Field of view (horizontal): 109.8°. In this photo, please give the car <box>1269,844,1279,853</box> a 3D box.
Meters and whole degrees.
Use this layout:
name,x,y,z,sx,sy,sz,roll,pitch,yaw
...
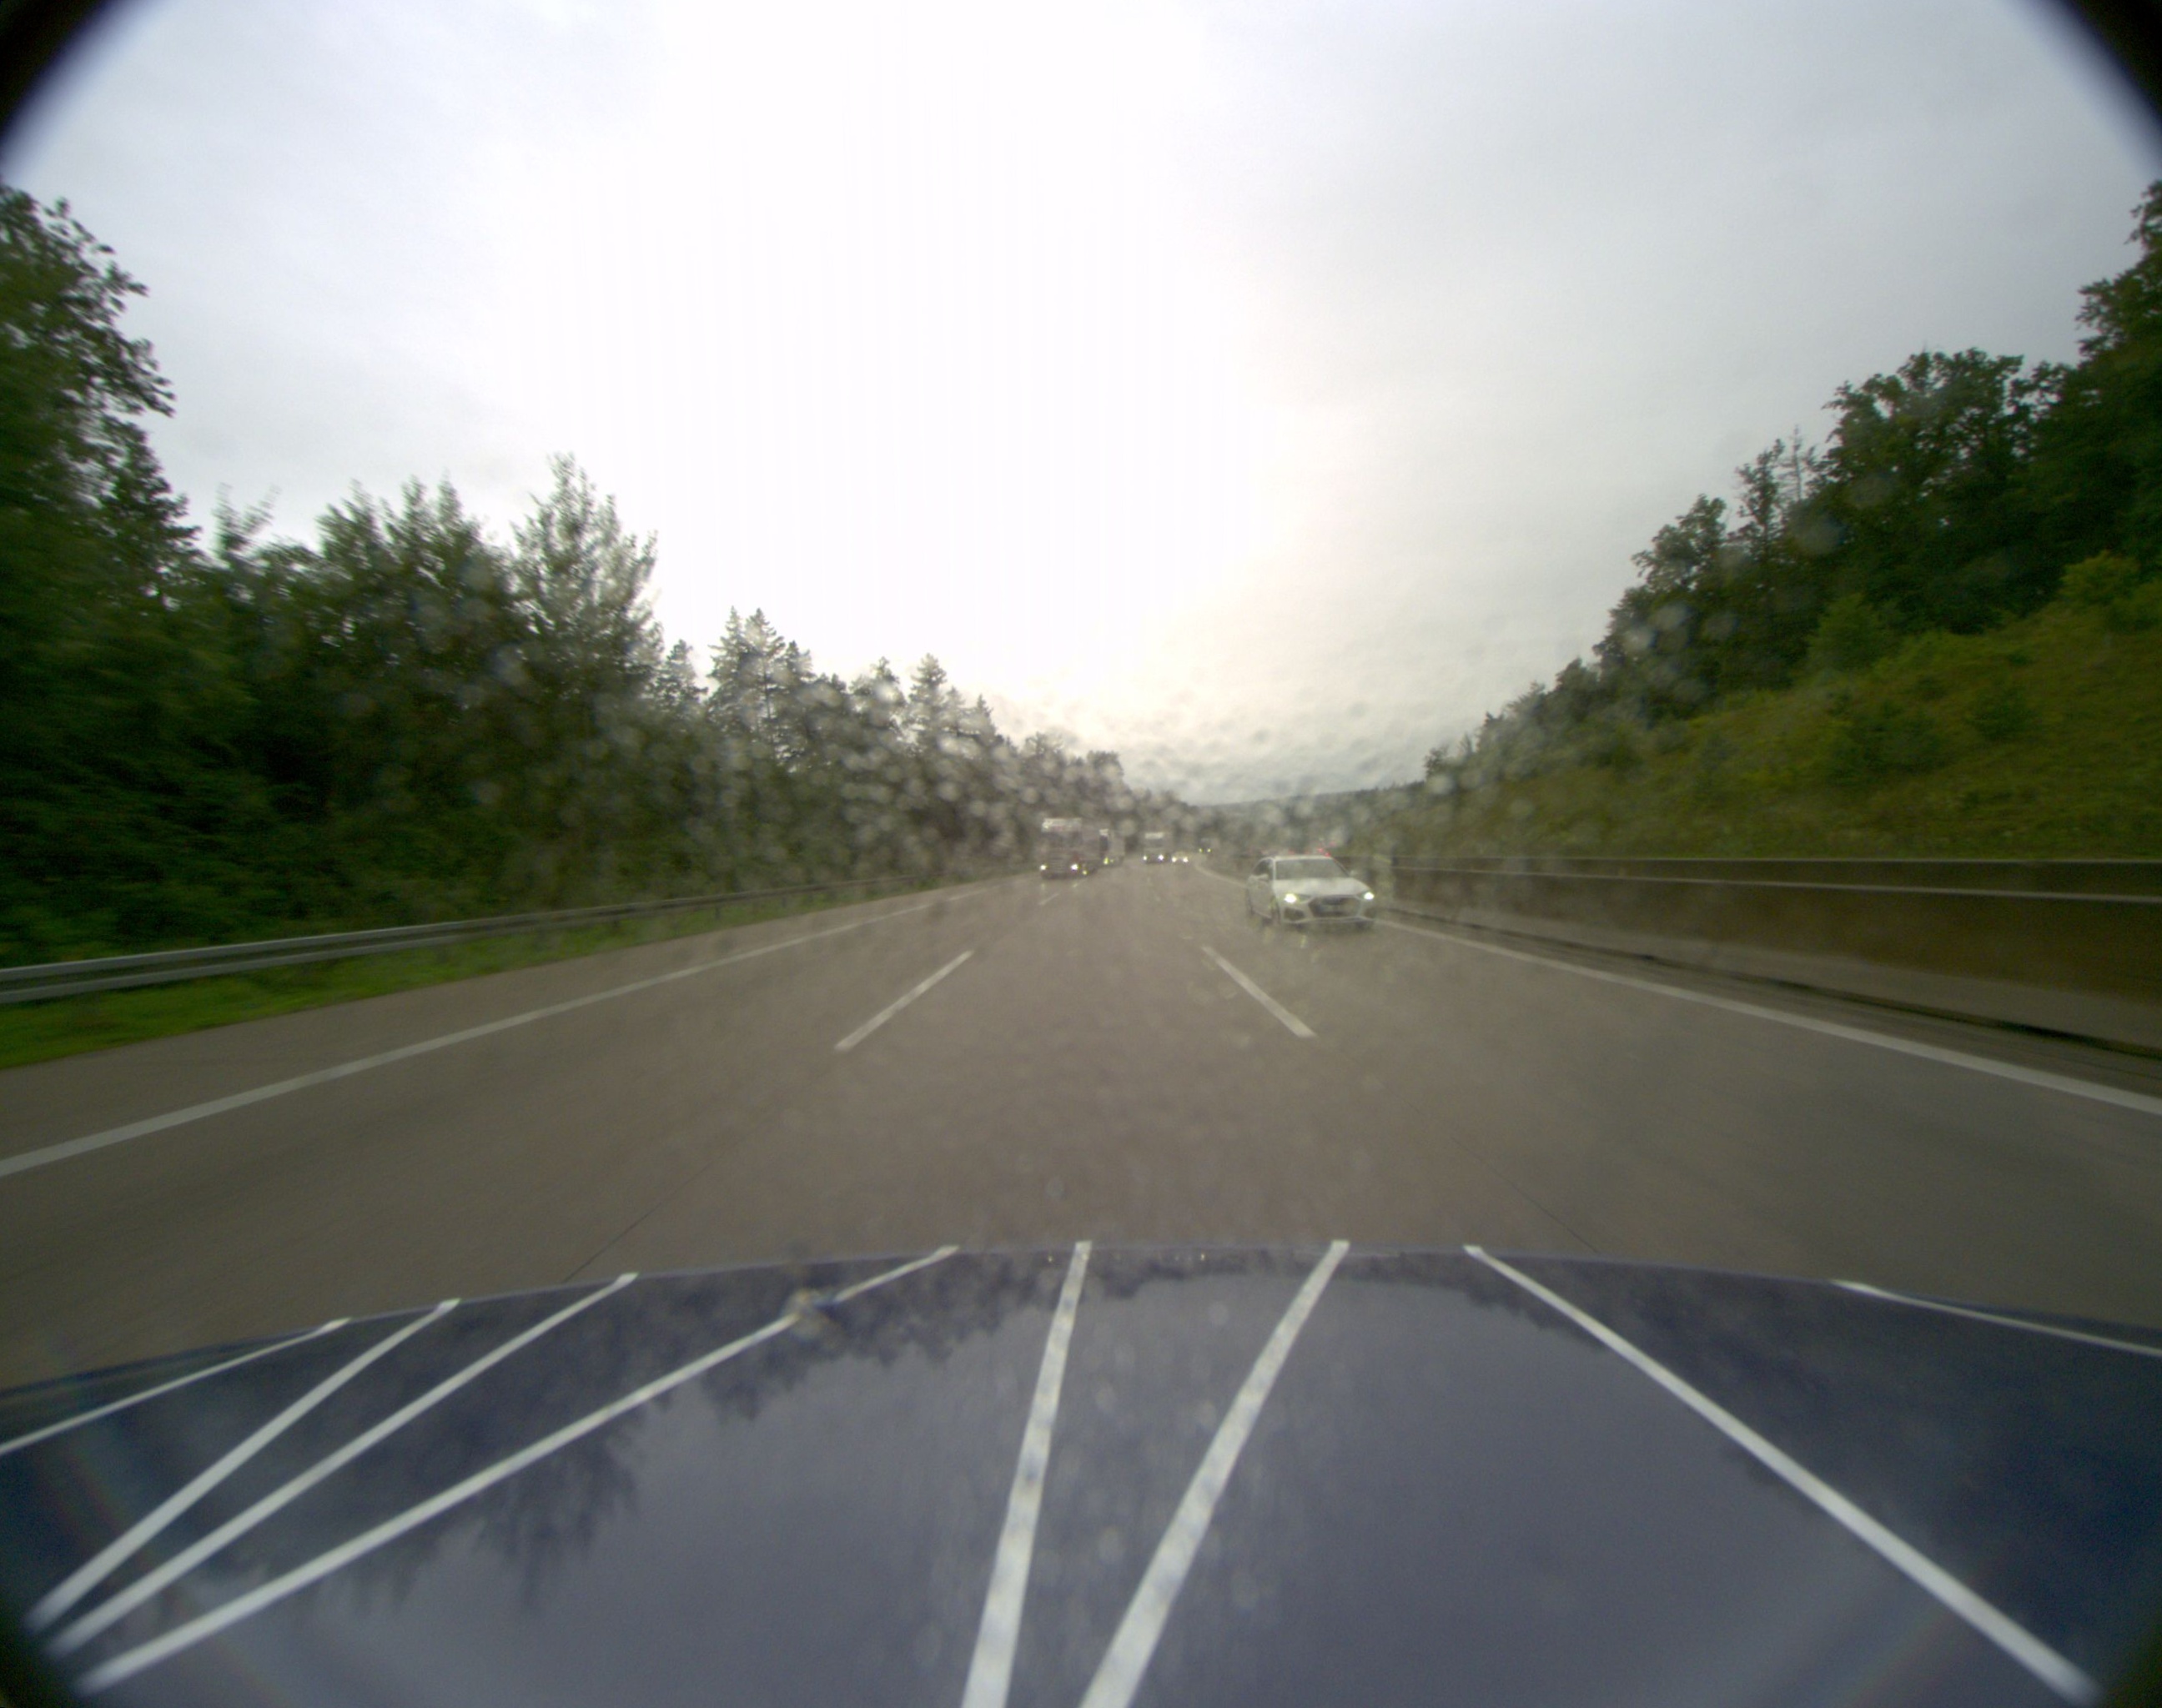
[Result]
name,x,y,z,sx,sy,sz,roll,pitch,yaw
car,41.827,-1.179,164.654,1.734,1.766,4.761,-1,1,9

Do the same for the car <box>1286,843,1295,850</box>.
name,x,y,z,sx,sy,sz,roll,pitch,yaw
car,46.789,-1.625,169.722,1.733,1.484,4.003,-1,1,11

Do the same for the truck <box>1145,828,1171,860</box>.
name,x,y,z,sx,sy,sz,roll,pitch,yaw
truck,10.156,-1.320,100.259,2.726,4.017,5.757,-3,0,11

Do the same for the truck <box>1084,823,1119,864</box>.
name,x,y,z,sx,sy,sz,roll,pitch,yaw
truck,2.251,-1.100,80.959,2.803,4.080,5.971,-1,1,11

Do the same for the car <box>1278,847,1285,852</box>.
name,x,y,z,sx,sy,sz,roll,pitch,yaw
car,57.483,-1.307,217.360,1.733,1.484,4.005,-1,1,18

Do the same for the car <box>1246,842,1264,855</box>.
name,x,y,z,sx,sy,sz,roll,pitch,yaw
car,23.229,-0.750,101.546,1.734,1.766,4.760,-1,1,6

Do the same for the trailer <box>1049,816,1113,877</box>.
name,x,y,z,sx,sy,sz,roll,pitch,yaw
trailer,0.247,-0.484,56.622,2.375,3.930,12.530,-4,-1,10

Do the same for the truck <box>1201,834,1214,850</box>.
name,x,y,z,sx,sy,sz,roll,pitch,yaw
truck,33.916,-3.048,203.247,2.735,4.127,8.629,-2,0,13

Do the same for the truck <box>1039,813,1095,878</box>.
name,x,y,z,sx,sy,sz,roll,pitch,yaw
truck,-0.835,-0.491,50.285,2.379,3.930,6.165,-3,-1,10

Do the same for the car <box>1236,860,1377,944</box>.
name,x,y,z,sx,sy,sz,roll,pitch,yaw
car,4.494,0.876,15.922,1.716,1.399,4.936,-2,0,3

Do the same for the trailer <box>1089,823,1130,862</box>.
name,x,y,z,sx,sy,sz,roll,pitch,yaw
trailer,3.475,-1.288,87.622,2.739,4.080,13.691,-1,1,11

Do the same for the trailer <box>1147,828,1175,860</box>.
name,x,y,z,sx,sy,sz,roll,pitch,yaw
trailer,11.462,-1.381,107.466,2.684,4.017,13.714,-3,0,10

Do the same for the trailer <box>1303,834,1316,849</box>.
name,x,y,z,sx,sy,sz,roll,pitch,yaw
trailer,60.193,-3.288,200.225,2.931,3.938,13.478,-1,1,16

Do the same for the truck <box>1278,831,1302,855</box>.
name,x,y,z,sx,sy,sz,roll,pitch,yaw
truck,35.910,-1.892,130.630,2.912,3.866,7.368,-1,1,8

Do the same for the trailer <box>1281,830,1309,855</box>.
name,x,y,z,sx,sy,sz,roll,pitch,yaw
trailer,35.210,-1.847,125.482,2.912,3.866,11.041,-1,1,8

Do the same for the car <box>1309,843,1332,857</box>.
name,x,y,z,sx,sy,sz,roll,pitch,yaw
car,29.103,-0.495,92.420,1.734,1.567,4.245,-1,1,6

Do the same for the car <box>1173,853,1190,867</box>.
name,x,y,z,sx,sy,sz,roll,pitch,yaw
car,11.470,0.621,86.720,1.849,1.474,4.451,-1,0,7
